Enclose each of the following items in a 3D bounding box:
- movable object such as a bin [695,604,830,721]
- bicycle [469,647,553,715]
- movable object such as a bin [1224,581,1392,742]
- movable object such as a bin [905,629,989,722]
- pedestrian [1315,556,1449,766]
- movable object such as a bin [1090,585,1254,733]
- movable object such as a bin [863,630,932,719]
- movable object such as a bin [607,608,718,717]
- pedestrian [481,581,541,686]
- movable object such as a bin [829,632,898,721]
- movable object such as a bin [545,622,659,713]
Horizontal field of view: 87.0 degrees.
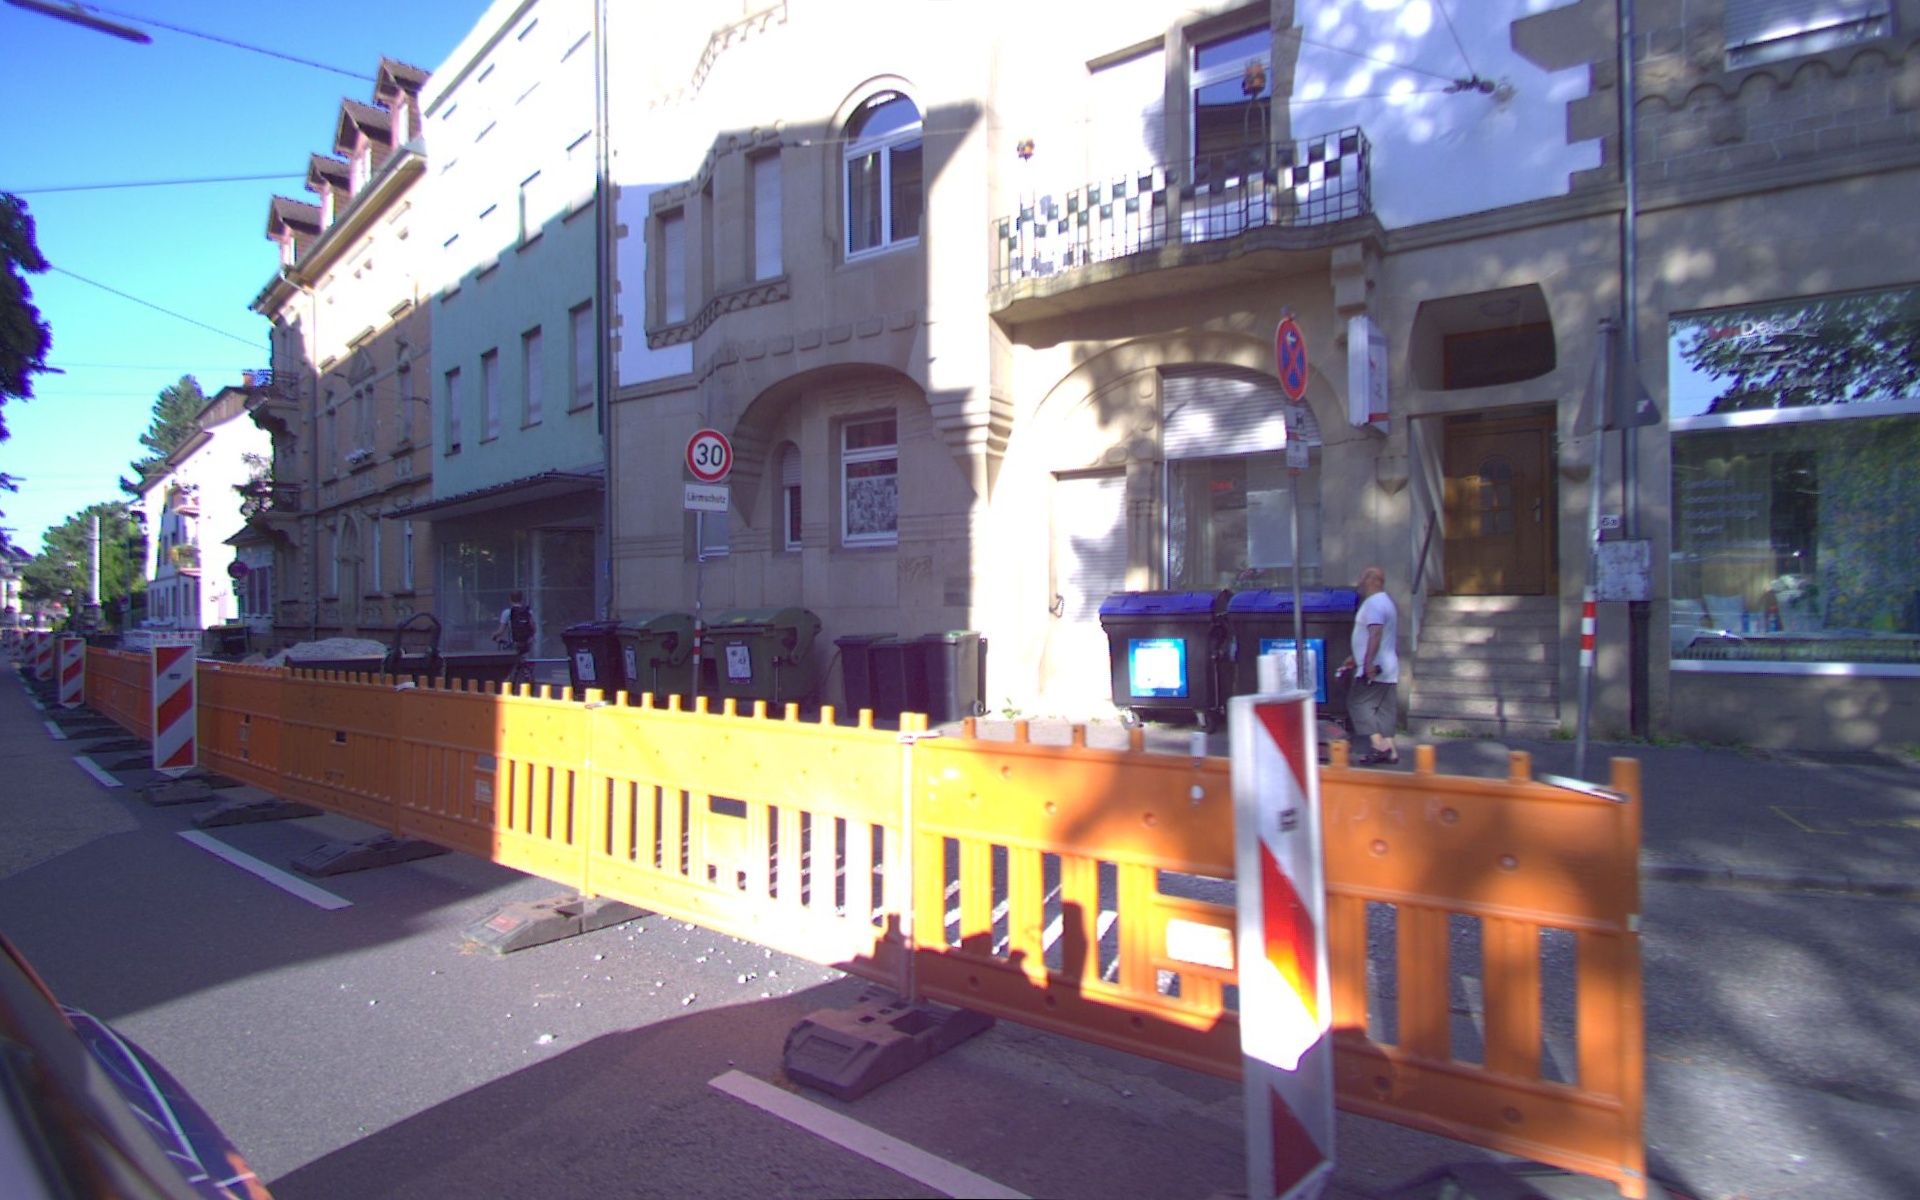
[{"bbox_3d":[-2.642,0.801,13.557,1.405,1.442,1.073,-1,1,36],"label":"movable object such as a bin"},{"bbox_3d":[-6.951,1.232,15.639,1.473,0.939,0.593,-1,1,41],"label":"bicycle"},{"bbox_3d":[3.434,0.560,9.949,1.341,1.442,1.074,-1,1,31],"label":"movable object such as a bin"},{"bbox_3d":[-0.159,0.889,12.195,0.762,1.049,0.630,-1,1,36],"label":"movable object such as a bin"},{"bbox_3d":[3.490,0.469,8.344,0.913,1.615,0.815,-1,1,28],"label":"pedestrian"},{"bbox_3d":[2.259,0.586,10.750,1.402,1.442,1.074,-1,1,31],"label":"movable object such as a bin"},{"bbox_3d":[-0.763,0.899,12.495,0.555,1.031,0.630,-1,1,36],"label":"movable object such as a bin"},{"bbox_3d":[-4.344,0.863,14.720,1.068,1.442,1.410,-2,1,-38],"label":"movable object such as a bin"},{"bbox_3d":[-6.901,0.501,15.565,0.616,1.567,0.592,-1,1,41],"label":"pedestrian"},{"bbox_3d":[-1.222,0.953,12.847,0.587,1.049,0.630,-1,1,36],"label":"movable object such as a bin"},{"bbox_3d":[-5.504,1.004,15.568,1.333,1.273,1.072,-1,1,38],"label":"movable object such as a bin"}]
